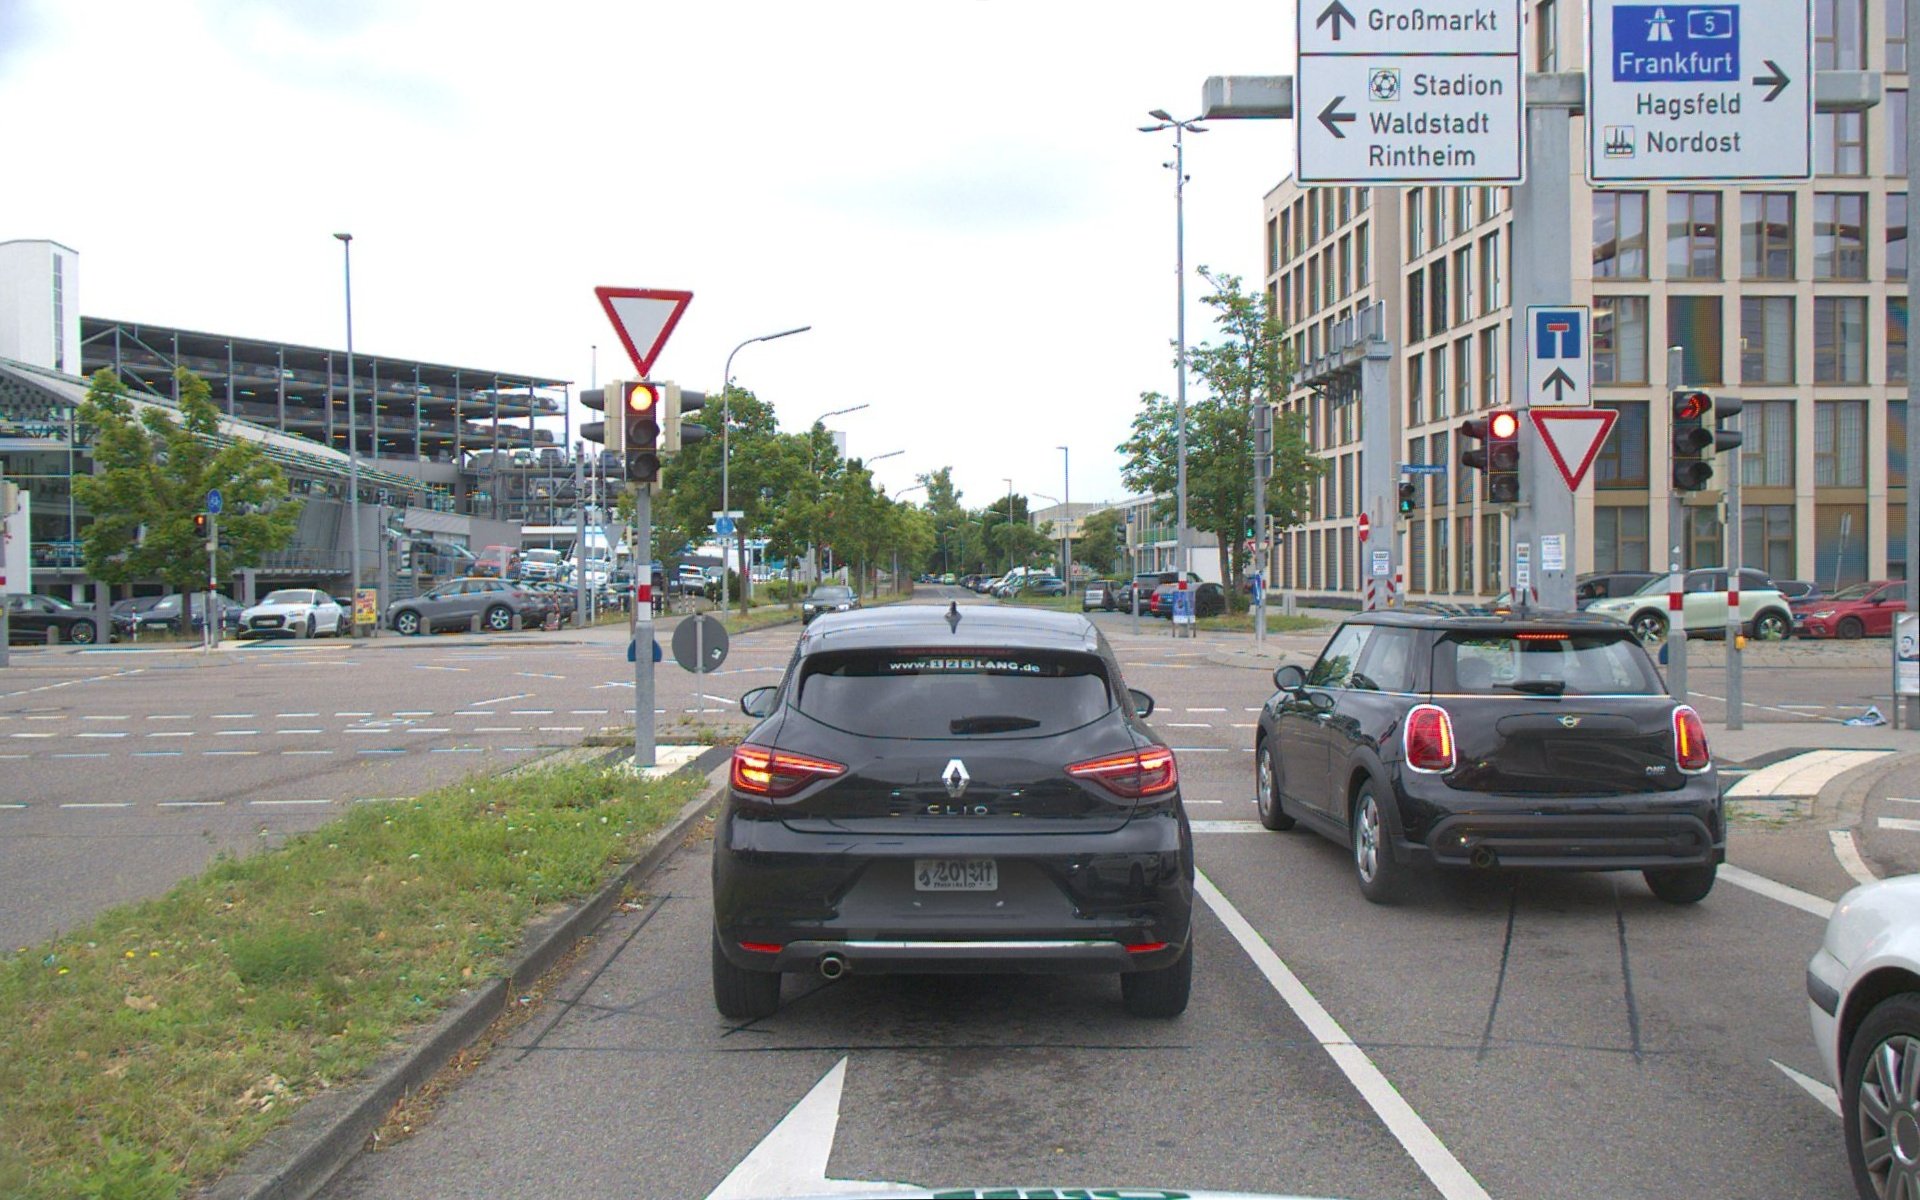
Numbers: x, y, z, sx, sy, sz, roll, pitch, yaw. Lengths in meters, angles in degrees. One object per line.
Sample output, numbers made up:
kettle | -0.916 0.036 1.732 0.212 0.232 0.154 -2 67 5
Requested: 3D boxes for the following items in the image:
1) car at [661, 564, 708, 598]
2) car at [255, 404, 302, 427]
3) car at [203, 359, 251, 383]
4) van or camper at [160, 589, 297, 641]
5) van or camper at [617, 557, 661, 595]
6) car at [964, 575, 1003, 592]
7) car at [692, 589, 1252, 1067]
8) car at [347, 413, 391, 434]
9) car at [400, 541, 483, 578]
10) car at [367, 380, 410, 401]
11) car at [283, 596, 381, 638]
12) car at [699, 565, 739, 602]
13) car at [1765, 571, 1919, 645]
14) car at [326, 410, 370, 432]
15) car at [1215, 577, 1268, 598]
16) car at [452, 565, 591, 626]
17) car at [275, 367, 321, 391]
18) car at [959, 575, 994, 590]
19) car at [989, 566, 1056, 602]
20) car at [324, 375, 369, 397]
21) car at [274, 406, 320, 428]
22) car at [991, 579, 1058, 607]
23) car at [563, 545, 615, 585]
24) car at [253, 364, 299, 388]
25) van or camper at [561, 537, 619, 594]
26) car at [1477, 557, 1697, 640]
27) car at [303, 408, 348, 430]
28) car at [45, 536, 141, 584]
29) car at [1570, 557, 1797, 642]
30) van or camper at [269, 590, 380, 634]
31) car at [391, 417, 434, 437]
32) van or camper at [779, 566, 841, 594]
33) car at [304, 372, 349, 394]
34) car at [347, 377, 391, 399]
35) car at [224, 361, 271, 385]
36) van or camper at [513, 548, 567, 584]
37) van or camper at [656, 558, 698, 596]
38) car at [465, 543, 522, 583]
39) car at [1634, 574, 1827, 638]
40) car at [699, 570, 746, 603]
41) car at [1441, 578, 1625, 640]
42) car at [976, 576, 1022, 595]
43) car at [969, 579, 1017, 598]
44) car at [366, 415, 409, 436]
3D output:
car | -13.847 -0.941 83.257 1.954 1.646 3.996 1 0 -4
car | -62.295 -16.828 151.169 3.914 1.696 1.996 1 1 31
car | -64.955 -20.261 146.591 3.914 1.696 1.996 1 1 31
van or camper | -25.593 0.519 58.000 3.909 1.707 1.998 1 0 -5
van or camper | -18.291 -1.345 94.383 1.954 2.049 3.996 1 0 -4
car | 3.116 -2.191 218.685 5.069 2.049 2.143 1 0 -2
car | 0.012 0.720 7.147 1.721 1.460 3.999 1 0 -1
car | -57.101 -17.083 159.880 3.914 1.696 1.996 1 1 31
car | -28.116 -2.172 89.772 3.908 1.870 1.759 1 0 -4
car | -55.902 -20.502 161.820 3.914 1.696 1.996 1 1 31
car | -29.109 0.794 76.773 3.911 1.870 1.757 1 0 -7
car | -13.821 -0.929 94.847 1.954 2.049 3.996 1 0 -4
car | 21.263 0.201 38.688 3.908 1.629 1.998 1 0 -4
car | -58.362 -17.057 157.666 3.914 1.696 1.996 1 1 31
car | 18.910 -0.820 111.218 3.182 1.356 1.477 1 0 -20
car | -16.215 -0.171 61.406 4.683 2.049 1.997 -2 0 -7
car | -61.231 -20.428 152.960 3.914 1.696 1.996 1 1 31
car | 2.275 -2.471 229.913 4.690 1.924 2.142 1 0 -3
car | 5.729 -1.487 151.464 5.993 3.171 2.133 1 0 -2
car | -58.489 -20.384 157.655 3.914 1.696 1.996 1 1 31
car | -61.436 -16.942 153.263 3.914 1.696 1.996 1 1 31
car | 4.996 -0.527 129.038 5.070 2.049 2.142 1 0 -3
car | -18.615 -1.739 83.156 1.954 1.855 3.996 1 0 -4
car | -62.468 -20.457 151.073 3.914 1.696 1.996 1 1 31
van or camper | -21.079 -1.948 94.352 2.486 3.079 4.839 1 0 -4
car | 14.429 -0.025 38.181 4.321 1.800 1.998 1 0 -5
car | -59.657 -17.022 155.520 3.914 1.696 1.996 1 1 31
car | -32.738 -1.489 62.537 1.784 1.691 3.995 1 0 -5
car | 15.219 -0.005 34.921 3.977 1.672 1.903 1 0 -6
van or camper | -26.403 0.484 68.837 3.909 1.741 1.845 1 0 -5
car | -54.404 -17.180 164.343 3.914 1.696 1.996 1 1 31
van or camper | -13.723 -1.845 151.467 5.486 2.413 1.999 1 0 -2
car | -59.604 -20.411 155.626 3.914 1.696 1.996 1 1 31
car | -57.146 -20.539 159.977 3.914 1.696 1.996 1 1 31
car | -64.020 -20.389 148.654 3.914 1.696 1.996 1 1 31
van or camper | -21.031 -1.692 82.992 1.954 1.680 3.996 1 0 -4
van or camper | -16.138 -1.307 94.608 1.954 2.049 3.996 1 0 -4
car | -23.436 -1.852 83.195 1.954 1.881 3.996 1 0 -4
car | 19.418 0.161 41.775 4.055 1.517 1.870 1 0 -5
car | -12.076 -0.666 84.149 1.954 1.646 3.998 1 0 -3
car | 14.332 0.233 41.463 4.005 1.457 1.749 1 0 -5
car | 4.120 -1.575 175.617 4.690 1.924 2.142 1 0 -3
car | 3.625 -1.252 182.217 5.069 2.049 2.143 1 0 -2
car | -55.966 -17.082 161.750 3.914 1.696 1.996 1 1 31
